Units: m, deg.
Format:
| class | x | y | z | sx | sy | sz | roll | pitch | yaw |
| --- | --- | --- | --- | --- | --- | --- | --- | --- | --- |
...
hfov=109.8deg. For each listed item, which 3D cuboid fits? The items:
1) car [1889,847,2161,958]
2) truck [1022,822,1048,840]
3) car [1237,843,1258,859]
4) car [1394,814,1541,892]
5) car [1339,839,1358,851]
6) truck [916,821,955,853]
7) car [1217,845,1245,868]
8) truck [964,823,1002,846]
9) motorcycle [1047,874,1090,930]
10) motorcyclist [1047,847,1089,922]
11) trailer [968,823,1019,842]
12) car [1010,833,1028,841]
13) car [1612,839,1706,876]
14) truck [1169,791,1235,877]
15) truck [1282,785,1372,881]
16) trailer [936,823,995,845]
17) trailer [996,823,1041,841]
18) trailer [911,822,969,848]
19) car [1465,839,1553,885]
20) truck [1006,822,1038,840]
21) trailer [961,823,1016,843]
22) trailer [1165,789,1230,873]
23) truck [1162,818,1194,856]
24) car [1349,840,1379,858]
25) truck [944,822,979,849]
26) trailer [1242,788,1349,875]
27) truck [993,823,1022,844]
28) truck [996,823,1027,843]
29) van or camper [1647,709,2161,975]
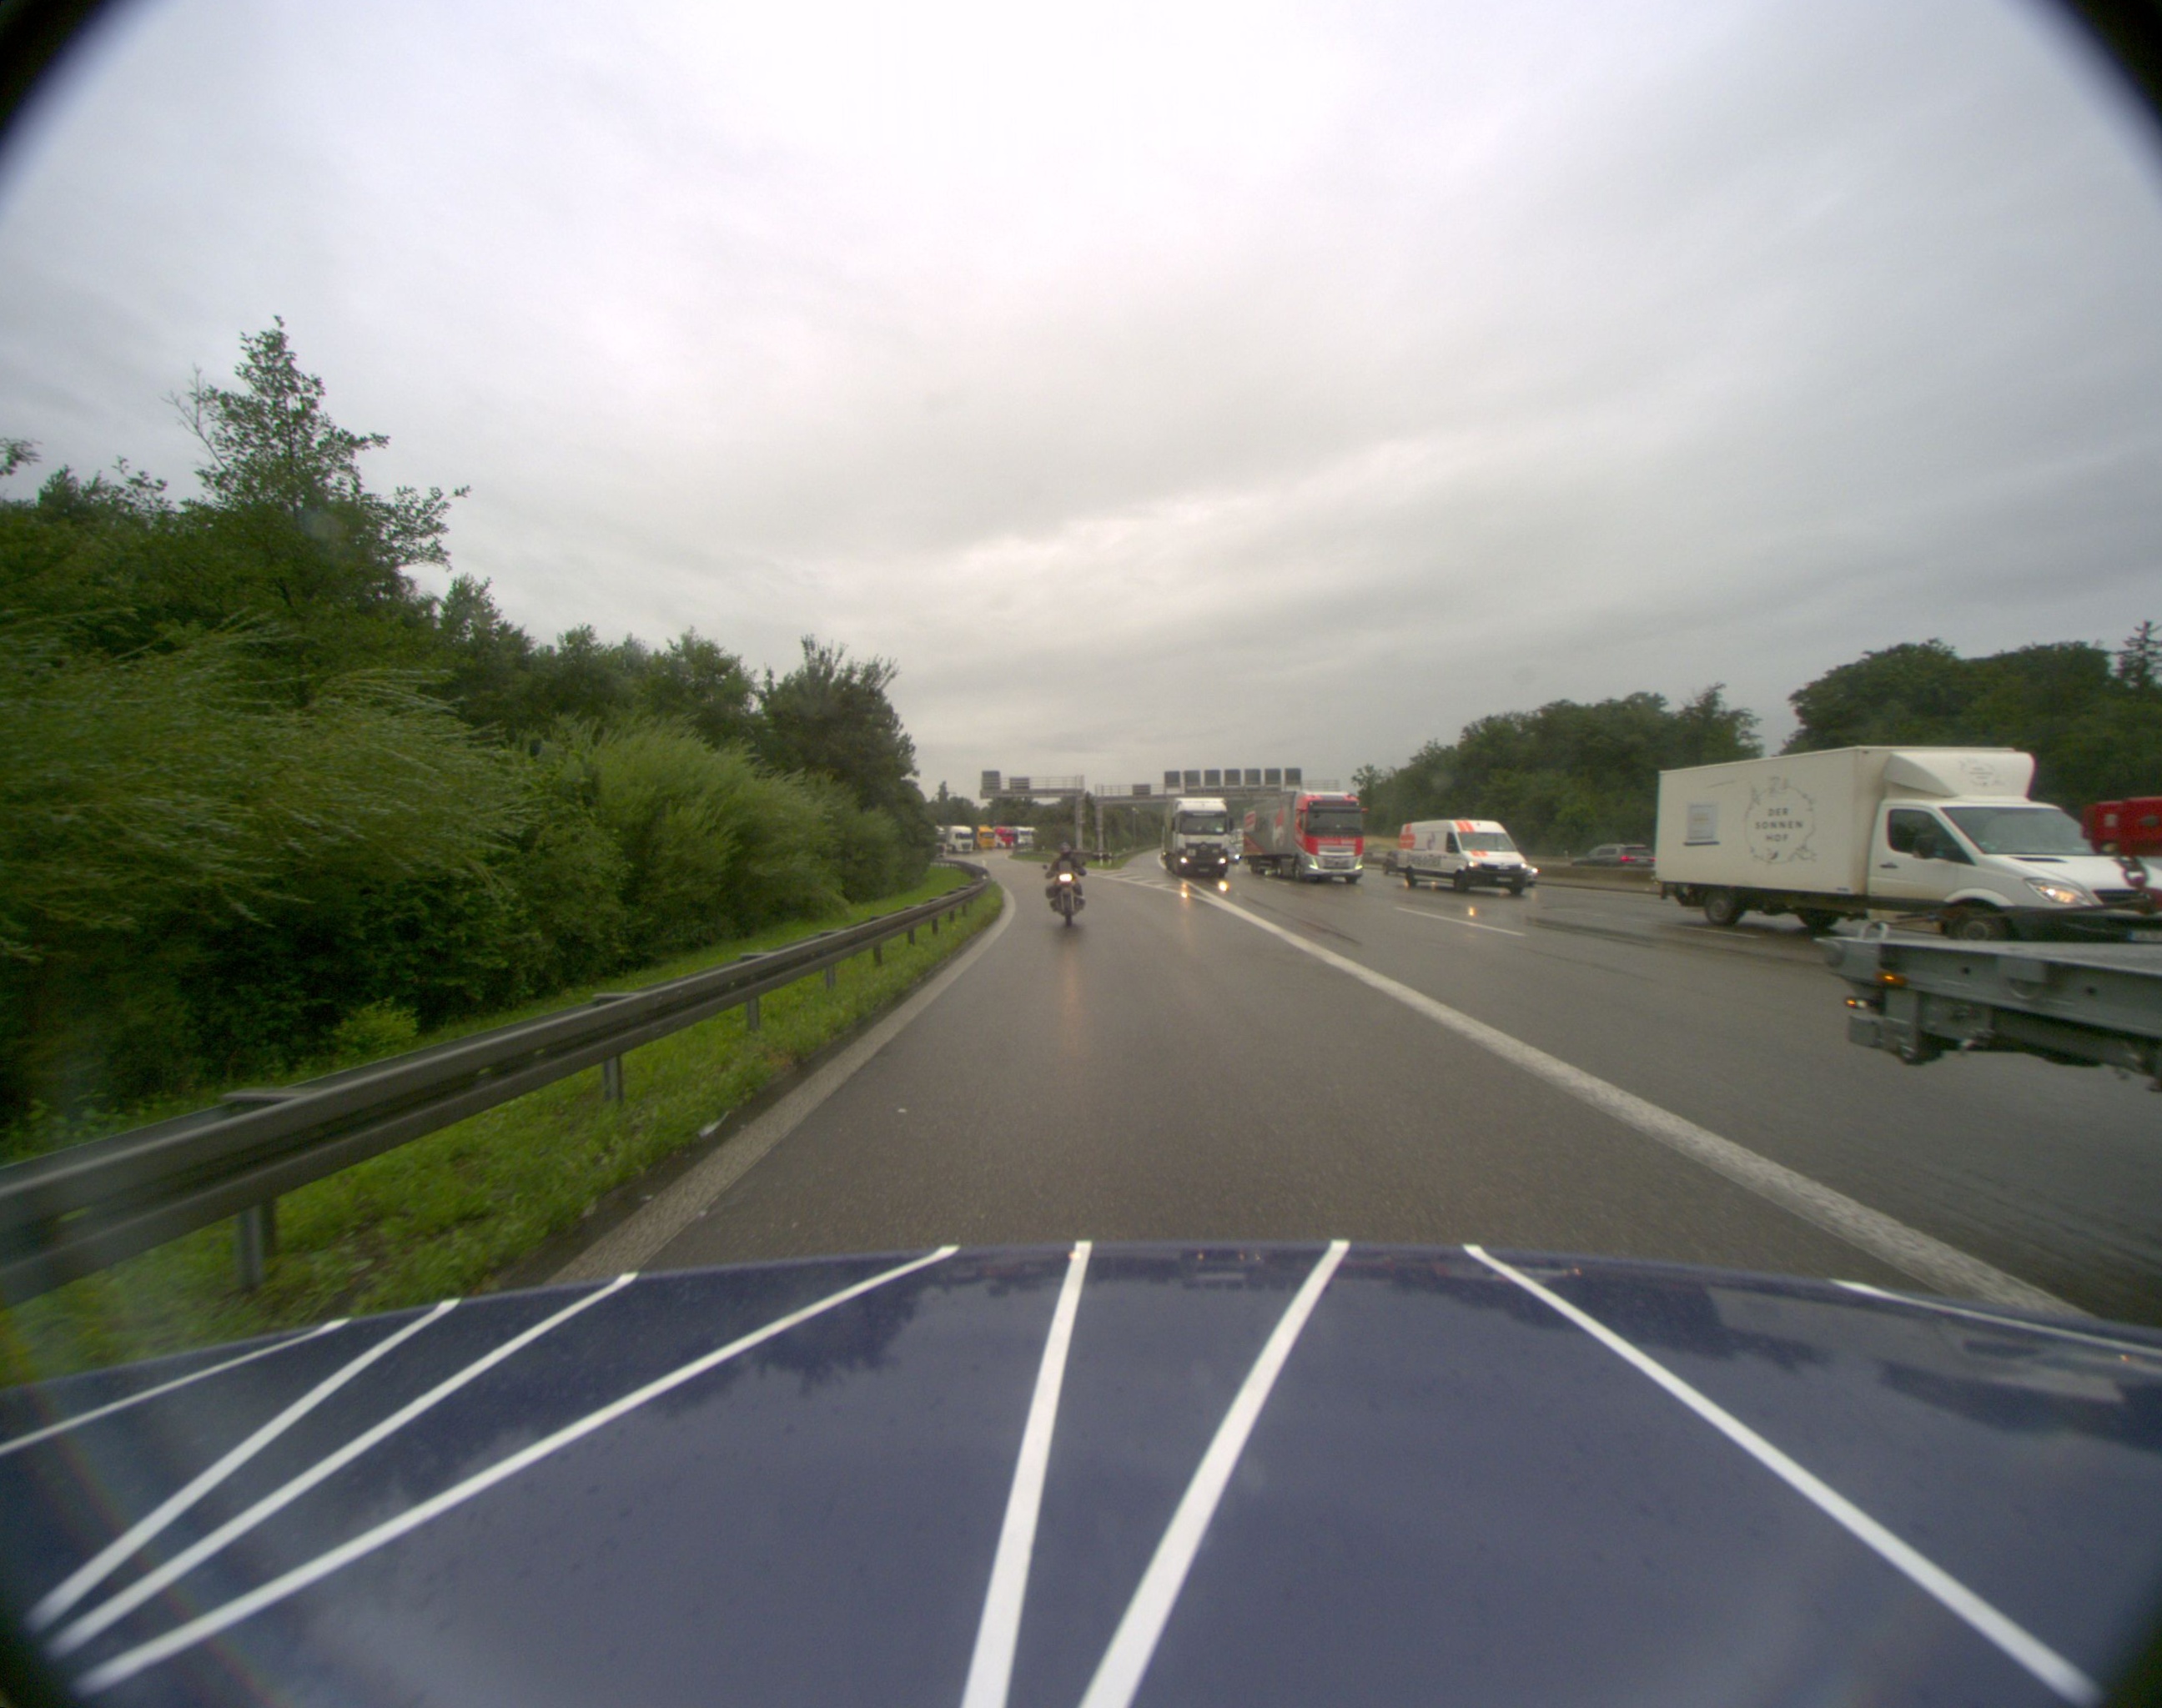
| class | x | y | z | sx | sy | sz | roll | pitch | yaw |
| --- | --- | --- | --- | --- | --- | --- | --- | --- | --- |
| car | 16.293 | 0.682 | 12.437 | 1.619 | 1.514 | 4.415 | 0 | 1 | 4 |
| truck | -11.239 | -5.535 | 185.051 | 3.252 | 4.363 | 5.796 | -3 | 3 | -41 |
| car | 18.441 | -0.334 | 84.478 | 1.997 | 1.660 | 4.184 | -2 | 1 | 9 |
| car | 13.838 | -0.103 | 27.939 | 2.153 | 2.474 | 7.366 | 0 | 1 | 4 |
| car | 40.098 | -1.369 | 113.942 | 1.997 | 1.805 | 4.106 | -2 | 1 | 9 |
| truck | -19.185 | -2.309 | 99.876 | 2.832 | 4.123 | 5.287 | -3 | 3 | -39 |
| car | 13.060 | 0.175 | 66.299 | 1.762 | 1.762 | 3.999 | -4 | 2 | 4 |
| truck | -17.286 | -3.444 | 133.709 | 2.845 | 3.898 | 8.107 | -2 | 3 | -37 |
| motorcycle | -0.295 | 1.014 | 16.743 | 0.878 | 1.016 | 2.351 | 0 | 1 | -2 |
| motorcyclist | -0.292 | 0.627 | 16.600 | 0.878 | 1.559 | 1.372 | 0 | 2 | -2 |
| trailer | -18.187 | -4.466 | 157.050 | 2.882 | 3.898 | 13.894 | -2 | 3 | -41 |
| car | -13.864 | -3.832 | 169.917 | 1.852 | 1.848 | 3.988 | -3 | 3 | -39 |
| car | 29.112 | 0.130 | 38.428 | 1.846 | 1.668 | 4.000 | -2 | 1 | 4 |
| truck | 6.165 | -1.036 | 39.635 | 2.924 | 4.076 | 6.719 | 0 | 2 | 5 |
| truck | 10.533 | -0.892 | 32.994 | 2.633 | 3.842 | 4.589 | 0 | 1 | 4 |
| trailer | -21.376 | -3.733 | 138.966 | 2.874 | 3.898 | 16.585 | -2 | 3 | -38 |
| trailer | -15.834 | -5.545 | 190.258 | 3.252 | 4.362 | 14.354 | -3 | 3 | -41 |
| trailer | -22.559 | -3.063 | 120.683 | 2.850 | 3.898 | 13.913 | -2 | 3 | -39 |
| car | 18.305 | 0.297 | 32.698 | 1.760 | 1.818 | 3.735 | -1 | 1 | 1 |
| truck | -13.776 | -5.375 | 176.409 | 3.252 | 4.069 | 7.914 | -2 | 3 | -41 |
| trailer | -18.709 | -4.214 | 152.362 | 3.252 | 3.898 | 14.786 | -2 | 3 | -41 |
| trailer | 6.627 | -1.339 | 45.038 | 2.924 | 4.182 | 13.637 | 0 | 2 | 5 |
| truck | 11.614 | -2.227 | 91.809 | 3.354 | 4.048 | 12.573 | -3 | 2 | 7 |
| car | 33.686 | -0.582 | 90.688 | 1.998 | 2.002 | 4.738 | -2 | 1 | 3 |
| truck | -18.087 | -2.813 | 115.232 | 2.836 | 3.891 | 5.395 | -2 | 3 | -39 |
| trailer | 10.997 | -1.117 | 40.644 | 2.633 | 3.842 | 13.677 | 0 | 1 | 4 |
| truck | -14.251 | -4.006 | 147.321 | 3.252 | 3.898 | 5.006 | -2 | 3 | -41 |
| truck | -13.934 | -4.246 | 152.253 | 2.905 | 3.898 | 6.536 | -2 | 3 | -41 |
| van or camper | 13.241 | -0.217 | 12.658 | 2.585 | 3.186 | 7.131 | 0 | 1 | 3 |
